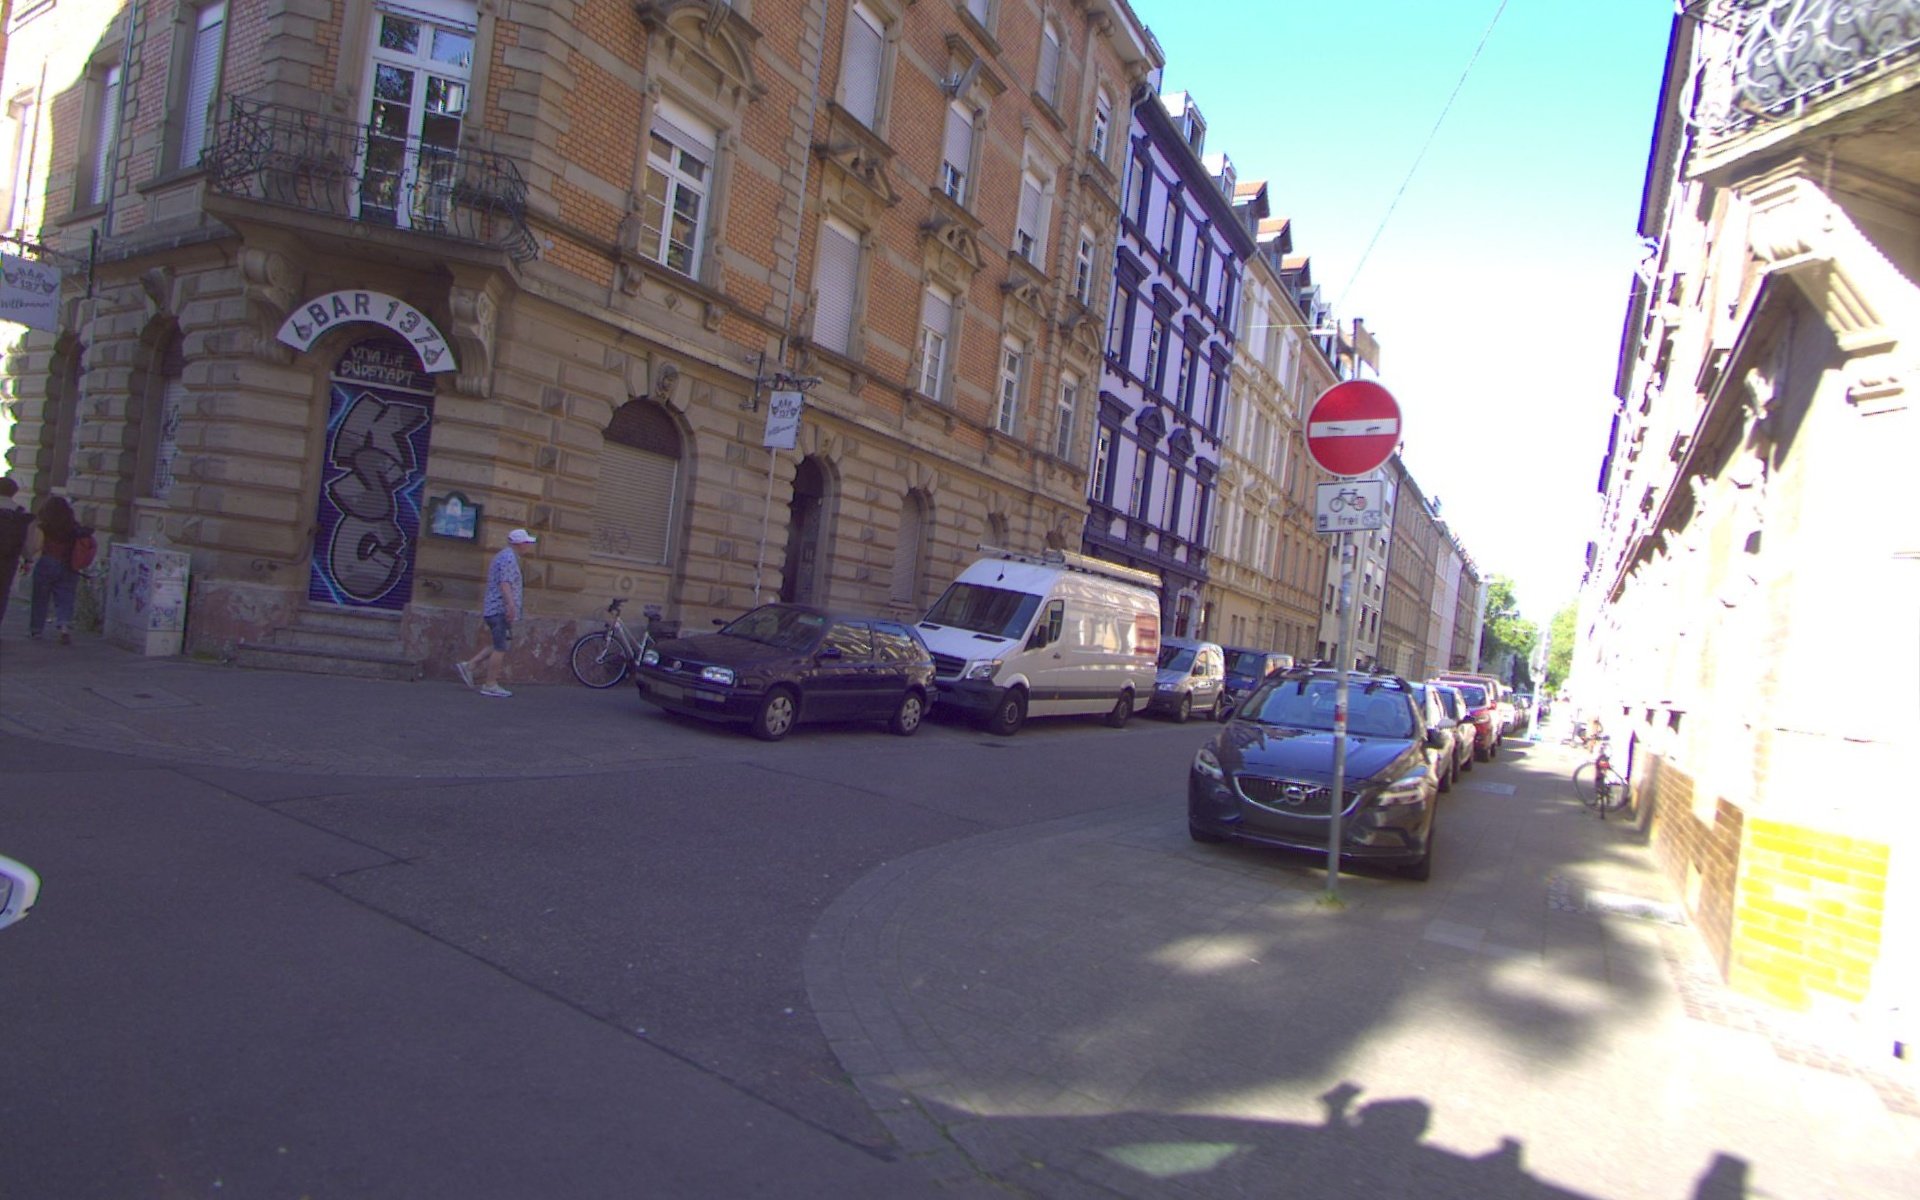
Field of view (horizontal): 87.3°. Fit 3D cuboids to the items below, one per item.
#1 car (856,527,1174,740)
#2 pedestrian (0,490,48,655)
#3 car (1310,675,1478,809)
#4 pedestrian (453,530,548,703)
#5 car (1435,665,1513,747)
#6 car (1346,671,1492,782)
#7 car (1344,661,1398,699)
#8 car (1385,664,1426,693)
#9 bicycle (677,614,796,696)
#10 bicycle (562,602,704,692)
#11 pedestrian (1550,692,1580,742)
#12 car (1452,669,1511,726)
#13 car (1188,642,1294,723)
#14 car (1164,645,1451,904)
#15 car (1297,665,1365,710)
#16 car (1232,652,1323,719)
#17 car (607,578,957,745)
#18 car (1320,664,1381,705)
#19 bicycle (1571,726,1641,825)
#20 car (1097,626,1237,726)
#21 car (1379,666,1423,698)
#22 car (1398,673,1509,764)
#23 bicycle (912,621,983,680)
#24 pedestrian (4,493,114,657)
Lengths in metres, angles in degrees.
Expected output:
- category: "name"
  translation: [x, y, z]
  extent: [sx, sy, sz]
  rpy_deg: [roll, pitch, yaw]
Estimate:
- category: "car"
  translation: [1.296, 0.693, 16.920]
  extent: [2.032, 2.683, 6.818]
  rpy_deg: [9, 0, 32]
- category: "pedestrian"
  translation: [-9.780, -0.302, 10.128]
  extent: [0.715, 1.624, 0.591]
  rpy_deg: [7, 2, 30]
- category: "car"
  translation: [6.138, 1.840, 13.983]
  extent: [1.564, 1.456, 3.992]
  rpy_deg: [3, -2, 31]
- category: "pedestrian"
  translation: [-4.924, 0.180, 10.772]
  extent: [0.658, 1.755, 0.569]
  rpy_deg: [6, 2, -39]
- category: "car"
  translation: [14.799, 3.012, 28.844]
  extent: [1.512, 1.996, 4.021]
  rpy_deg: [7, -1, 32]
- category: "car"
  translation: [8.093, 2.130, 17.546]
  extent: [1.706, 1.487, 3.993]
  rpy_deg: [7, -1, 32]
- category: "car"
  translation: [18.571, 3.615, 45.378]
  extent: [1.574, 1.443, 3.862]
  rpy_deg: [7, -1, 31]
- category: "car"
  translation: [25.770, 4.549, 58.121]
  extent: [1.574, 1.443, 3.738]
  rpy_deg: [7, -1, 31]
- category: "bicycle"
  translation: [-3.235, 0.826, 14.738]
  extent: [0.525, 1.067, 1.778]
  rpy_deg: [7, 0, 31]
- category: "bicycle"
  translation: [-4.255, 0.644, 13.221]
  extent: [0.525, 1.067, 1.778]
  rpy_deg: [7, 0, 31]
- category: "pedestrian"
  translation: [20.670, 3.993, 34.365]
  extent: [0.699, 1.586, 0.722]
  rpy_deg: [7, 0, 32]
- category: "car"
  translation: [19.220, 3.565, 37.001]
  extent: [1.512, 1.771, 4.050]
  rpy_deg: [7, -1, 32]
- category: "car"
  translation: [7.630, 2.213, 27.099]
  extent: [1.573, 1.855, 4.098]
  rpy_deg: [6, -1, 31]
- category: "car"
  translation: [3.252, 1.294, 8.871]
  extent: [1.738, 1.488, 4.251]
  rpy_deg: [7, -1, 26]
- category: "car"
  translation: [13.916, 3.253, 37.632]
  extent: [1.574, 1.406, 3.993]
  rpy_deg: [7, -1, 31]
- category: "car"
  translation: [9.803, 2.615, 30.890]
  extent: [1.671, 1.721, 3.993]
  rpy_deg: [7, -1, 31]
- category: "car"
  translation: [-1.889, 0.757, 11.886]
  extent: [1.705, 1.469, 3.985]
  rpy_deg: [7, -1, 33]
- category: "car"
  translation: [16.111, 3.466, 41.439]
  extent: [1.574, 1.406, 3.760]
  rpy_deg: [7, -1, 31]
- category: "bicycle"
  translation: [8.369, 2.233, 13.085]
  extent: [0.620, 1.072, 1.880]
  rpy_deg: [5, -2, 31]
- category: "car"
  translation: [4.789, 1.734, 22.730]
  extent: [1.691, 1.820, 4.406]
  rpy_deg: [8, -1, 29]
- category: "car"
  translation: [23.624, 4.374, 53.815]
  extent: [1.574, 1.443, 3.738]
  rpy_deg: [7, -1, 31]
- category: "car"
  translation: [11.001, 2.557, 22.297]
  extent: [1.706, 1.601, 3.993]
  rpy_deg: [7, -1, 32]
- category: "bicycle"
  translation: [-0.229, 1.037, 20.289]
  extent: [0.525, 1.067, 1.779]
  rpy_deg: [7, 0, 29]
- category: "pedestrian"
  translation: [-9.578, -0.261, 10.697]
  extent: [0.722, 1.642, 0.574]
  rpy_deg: [7, 2, 30]
